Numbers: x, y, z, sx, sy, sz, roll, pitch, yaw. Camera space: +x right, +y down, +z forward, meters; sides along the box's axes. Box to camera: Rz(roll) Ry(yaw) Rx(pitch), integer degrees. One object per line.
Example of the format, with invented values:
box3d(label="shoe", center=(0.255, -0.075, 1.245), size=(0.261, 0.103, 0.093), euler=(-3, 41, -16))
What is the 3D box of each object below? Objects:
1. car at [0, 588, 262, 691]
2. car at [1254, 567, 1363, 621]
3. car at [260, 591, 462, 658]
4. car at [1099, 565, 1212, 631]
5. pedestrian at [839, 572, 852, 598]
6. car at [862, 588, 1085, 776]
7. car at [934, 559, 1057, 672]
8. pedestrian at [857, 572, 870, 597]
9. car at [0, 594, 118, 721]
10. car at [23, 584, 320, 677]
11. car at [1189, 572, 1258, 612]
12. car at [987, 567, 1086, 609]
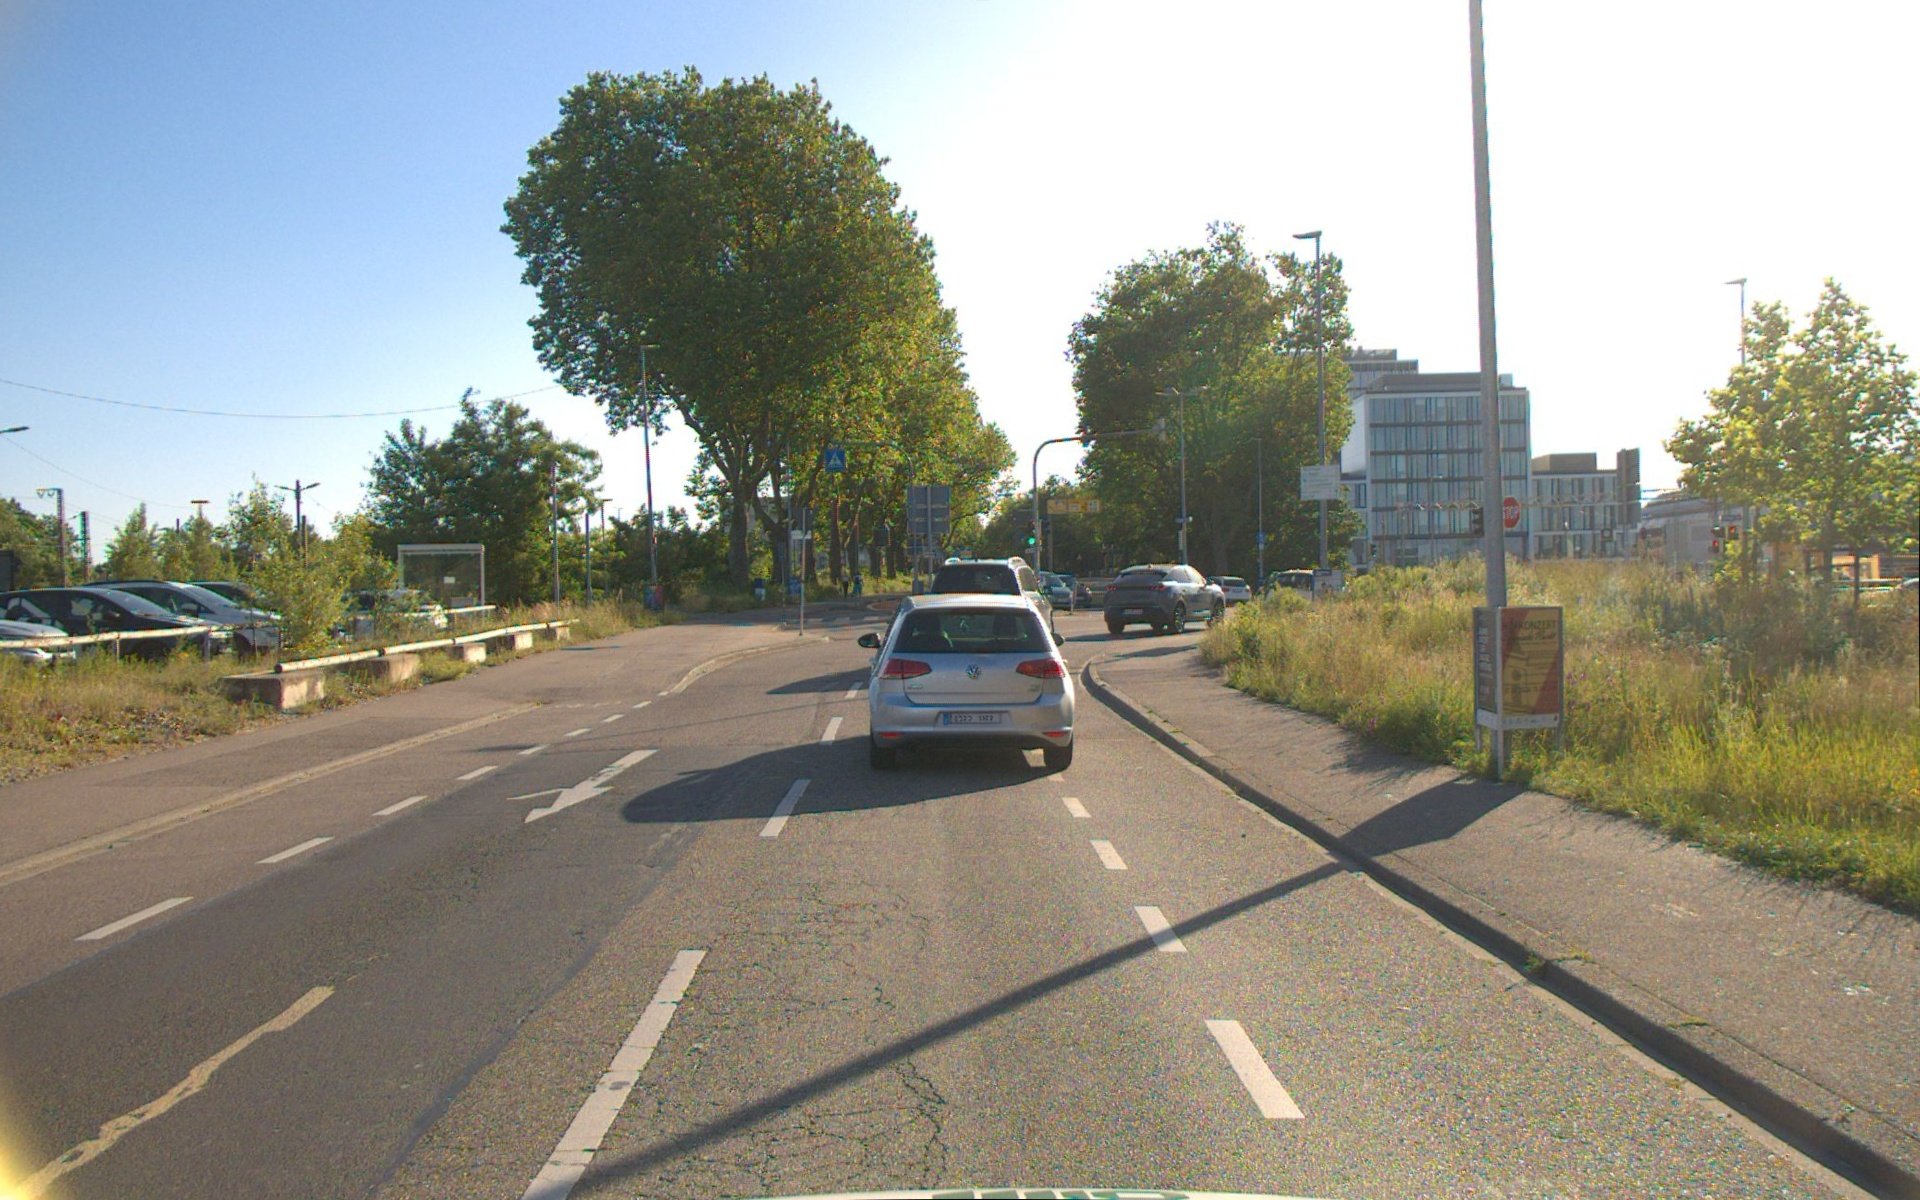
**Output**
box3d(label="car", center=(-13.911, 0.626, 27.259), size=(4.006, 1.585, 1.877), euler=(-1, 0, -3))
box3d(label="car", center=(10.895, -0.209, 51.493), size=(1.867, 1.624, 3.985), euler=(-1, 1, 36))
box3d(label="car", center=(-14.905, 0.596, 41.330), size=(4.336, 1.585, 1.877), euler=(-1, 0, -3))
box3d(label="car", center=(4.951, -0.073, 41.409), size=(1.874, 1.556, 4.408), euler=(0, 1, 20))
box3d(label="pedestrian", center=(-6.568, -0.865, 95.051), size=(0.665, 1.439, 0.684), euler=(-1, 0, -1))
box3d(label="car", center=(0.102, 0.634, 15.094), size=(1.753, 1.445, 4.000), euler=(-1, 1, 0))
box3d(label="car", center=(0.697, 0.225, 28.860), size=(1.780, 1.799, 4.632), euler=(-1, 1, 5))
box3d(label="pedestrian", center=(-5.535, -0.879, 94.900), size=(0.665, 1.439, 0.684), euler=(-1, 0, -1))
box3d(label="car", center=(-13.903, 0.751, 21.840), size=(4.502, 1.585, 1.999), euler=(-1, 1, -3))
box3d(label="car", center=(-14.235, 0.527, 30.055), size=(4.451, 1.585, 1.877), euler=(-1, 0, -3))
box3d(label="car", center=(12.993, -0.375, 81.700), size=(1.960, 1.892, 3.986), euler=(0, -1, -14))
box3d(label="car", center=(3.099, -0.488, 67.587), size=(1.980, 1.624, 3.944), euler=(-1, 1, -39))
